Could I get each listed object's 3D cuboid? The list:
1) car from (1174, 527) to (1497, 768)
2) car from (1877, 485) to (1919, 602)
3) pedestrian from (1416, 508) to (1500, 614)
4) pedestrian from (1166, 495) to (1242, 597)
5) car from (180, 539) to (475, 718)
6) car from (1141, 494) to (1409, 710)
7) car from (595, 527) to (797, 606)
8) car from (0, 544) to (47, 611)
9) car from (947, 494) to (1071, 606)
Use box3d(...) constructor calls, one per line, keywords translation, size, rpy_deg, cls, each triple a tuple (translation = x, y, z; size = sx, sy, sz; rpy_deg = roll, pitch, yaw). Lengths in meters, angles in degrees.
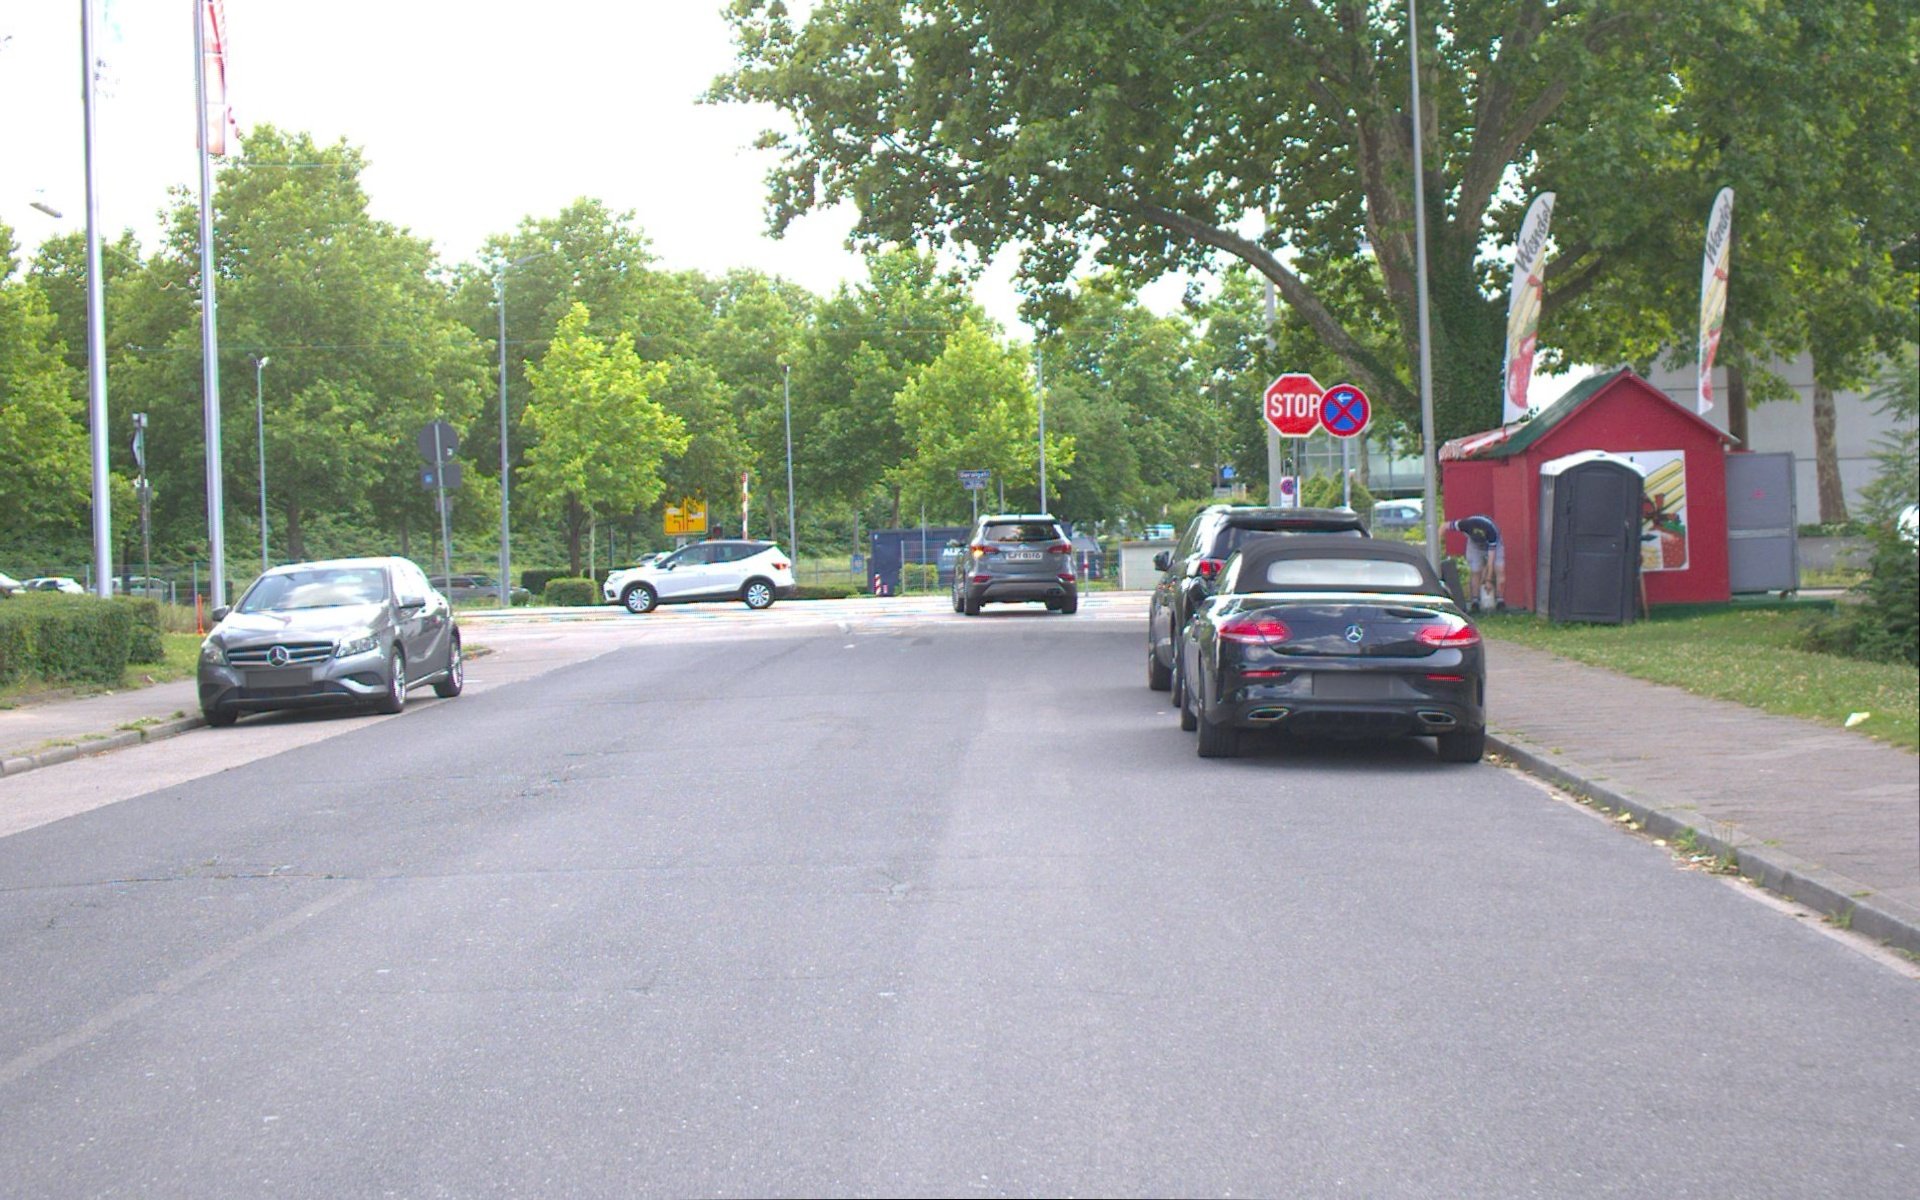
box3d(translation=(2.391, 0.235, 22.899), size=(1.808, 1.386, 4.588), rpy_deg=(1, 2, 2), cls="car")
box3d(translation=(13.269, -0.769, 44.996), size=(1.740, 1.507, 4.000), rpy_deg=(-1, 1, 5), cls="car")
box3d(translation=(6.351, -0.499, 43.791), size=(1.014, 1.309, 0.964), rpy_deg=(-1, 1, 9), cls="pedestrian")
box3d(translation=(4.484, -0.988, 63.249), size=(1.000, 1.843, 1.230), rpy_deg=(-2, 1, -16), cls="pedestrian")
box3d(translation=(-5.863, 0.212, 32.375), size=(1.710, 1.415, 4.331), rpy_deg=(-4, 1, 3), cls="car")
box3d(translation=(2.585, -0.043, 29.218), size=(1.808, 1.659, 4.640), rpy_deg=(1, 2, 0), cls="car")
box3d(translation=(-5.685, -0.731, 74.406), size=(4.220, 1.574, 1.924), rpy_deg=(-2, 1, -1), cls="car")
box3d(translation=(-22.019, -0.445, 73.969), size=(4.220, 1.401, 1.924), rpy_deg=(-2, 1, -1), cls="car")
box3d(translation=(0.799, -0.879, 58.894), size=(1.962, 1.809, 4.276), rpy_deg=(-2, 1, -1), cls="car")
